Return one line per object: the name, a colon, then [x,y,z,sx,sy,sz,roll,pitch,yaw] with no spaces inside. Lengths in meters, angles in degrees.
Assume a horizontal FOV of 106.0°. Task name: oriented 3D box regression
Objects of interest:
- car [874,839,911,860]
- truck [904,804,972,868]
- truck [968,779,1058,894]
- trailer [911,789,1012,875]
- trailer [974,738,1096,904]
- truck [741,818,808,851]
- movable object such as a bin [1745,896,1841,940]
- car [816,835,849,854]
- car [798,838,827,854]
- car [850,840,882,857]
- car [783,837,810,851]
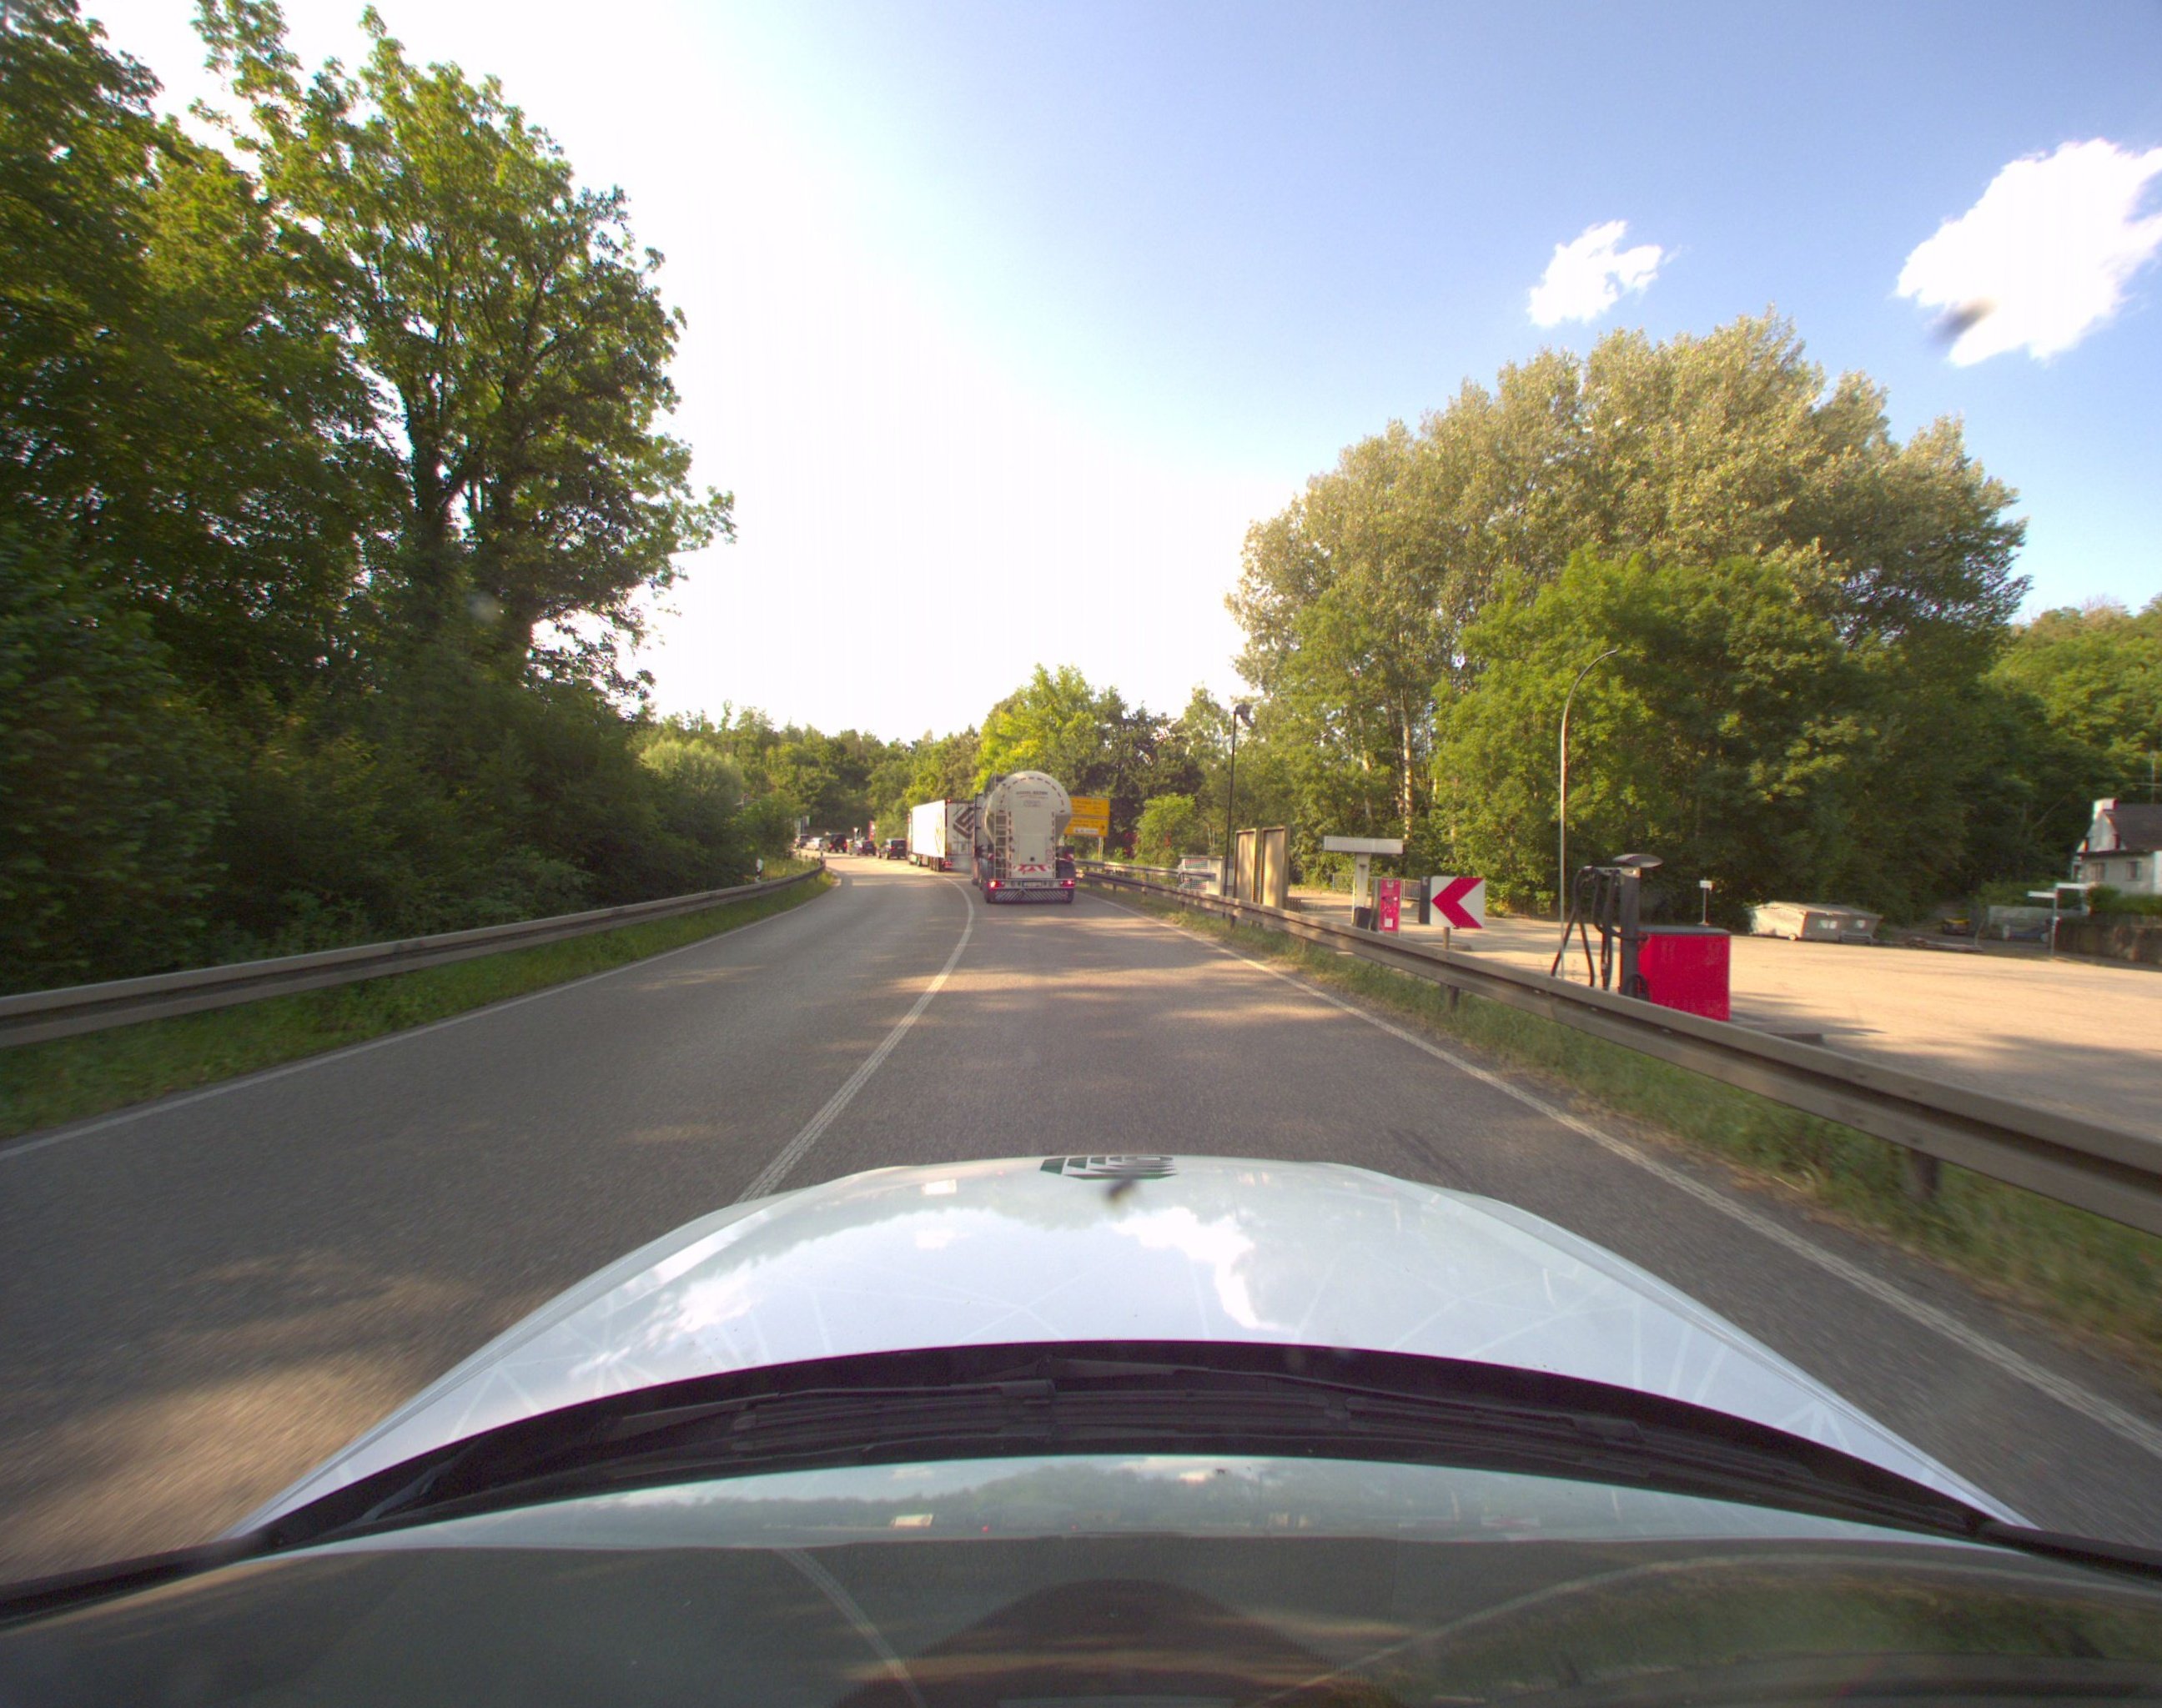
car: [-15.740,-0.369,67.863,1.879,1.628,3.962,2,0,-30]
truck: [-9.962,-1.165,56.157,3.461,4.086,6.448,2,0,-19]
truck: [-2.881,-0.648,32.629,2.825,4.035,5.872,3,0,-11]
trailer: [-7.624,-1.203,49.539,3.557,4.513,12.899,2,0,-19]
trailer: [-1.882,-0.932,27.345,2.886,4.454,9.574,3,0,-10]
truck: [-48.001,-2.964,127.937,2.984,4.585,10.301,2,0,27]
movable object such as a bin: [27.596,2.458,31.649,1.265,1.420,2.549,4,0,-9]
car: [-25.663,-1.011,84.045,1.972,1.851,3.956,-1,2,-36]
car: [-29.773,-0.923,90.289,1.881,1.683,3.957,2,0,-36]
car: [-20.199,-0.545,76.423,1.880,1.564,3.961,-1,1,-31]
car: [-33.540,-1.189,95.975,1.881,1.595,3.957,3,0,-35]
